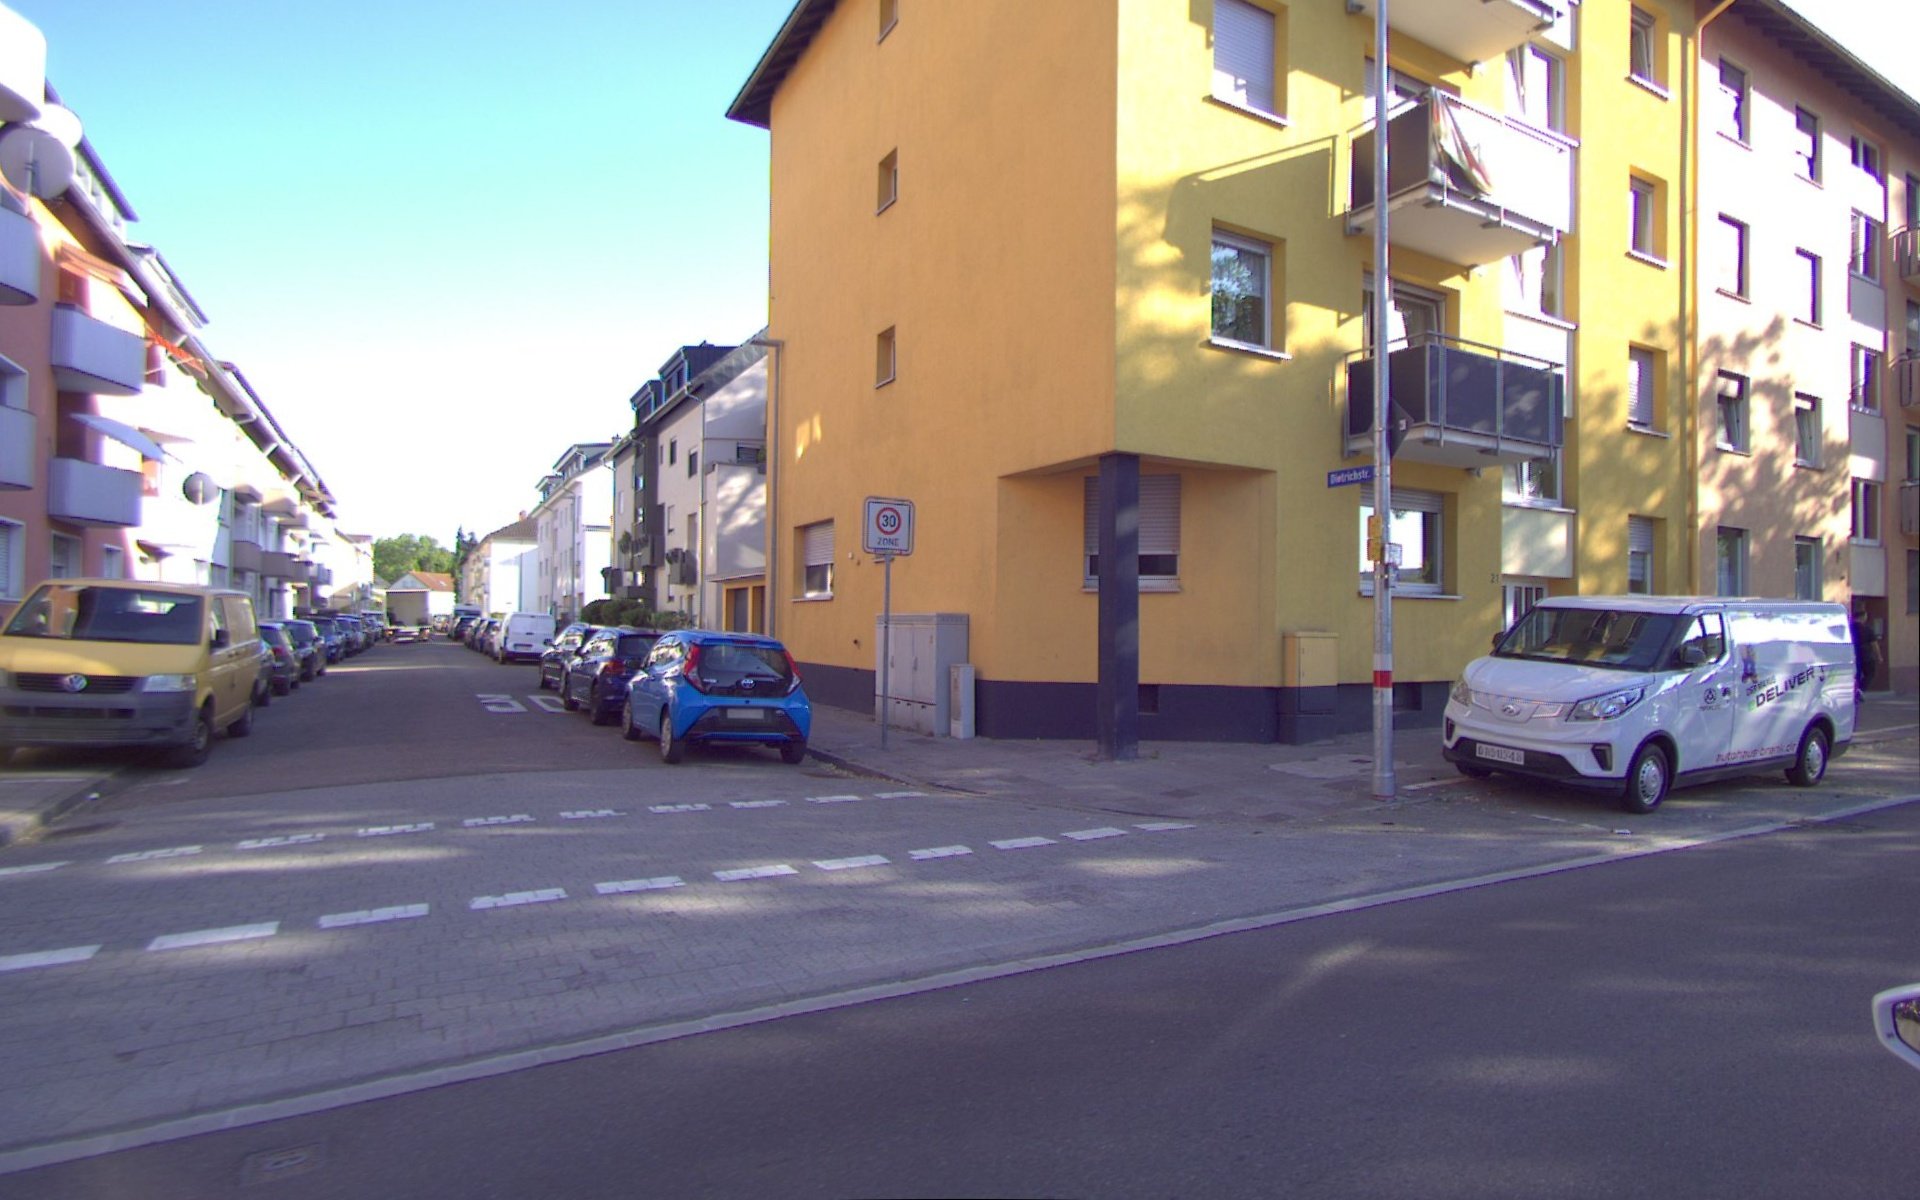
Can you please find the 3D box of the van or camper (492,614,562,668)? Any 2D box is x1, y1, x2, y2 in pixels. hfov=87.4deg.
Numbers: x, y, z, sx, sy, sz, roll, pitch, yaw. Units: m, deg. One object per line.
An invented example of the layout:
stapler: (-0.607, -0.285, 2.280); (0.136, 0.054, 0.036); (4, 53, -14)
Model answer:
van or camper: (-15.388, 1.418, 35.549); (1.848, 1.794, 4.259); (1, -1, -29)

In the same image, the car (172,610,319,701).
car: (-14.932, 1.109, 21.245); (1.895, 1.720, 4.278); (1, -2, -27)

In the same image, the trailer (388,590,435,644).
trailer: (-32.254, 0.977, 59.053); (2.213, 2.932, 5.098); (3, 0, -29)

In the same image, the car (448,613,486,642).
car: (-33.050, 1.797, 67.306); (1.977, 1.804, 3.967); (3, -2, -30)

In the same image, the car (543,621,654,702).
car: (-7.967, 1.277, 21.934); (1.727, 1.587, 3.974); (1, -2, -28)

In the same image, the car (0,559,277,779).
car: (-9.481, 0.708, 11.712); (1.895, 2.040, 4.729); (1, -2, -27)

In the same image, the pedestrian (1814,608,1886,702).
pedestrian: (17.784, 1.077, 20.075); (0.922, 1.793, 0.762); (1, 1, -30)

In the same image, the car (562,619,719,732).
car: (-5.286, 1.124, 16.287); (1.727, 1.587, 3.974); (1, -2, -28)

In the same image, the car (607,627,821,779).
car: (-3.229, 1.150, 12.648); (1.727, 1.587, 3.768); (1, -2, -28)

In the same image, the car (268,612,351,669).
car: (-22.040, 1.357, 34.180); (1.895, 1.791, 4.278); (1, -2, -27)

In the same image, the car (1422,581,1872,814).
car: (7.192, 0.852, 10.347); (5.145, 1.932, 1.726); (1, 0, -29)

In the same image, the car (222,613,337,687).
car: (-17.324, 1.236, 25.785); (1.895, 1.720, 4.278); (1, -2, -27)

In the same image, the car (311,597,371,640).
car: (-27.409, 0.851, 44.596); (1.895, 1.791, 4.278); (1, -2, -27)

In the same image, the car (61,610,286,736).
car: (-11.924, 1.028, 15.574); (1.895, 1.647, 4.433); (1, -2, -27)

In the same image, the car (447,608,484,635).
car: (-35.924, 1.546, 72.944); (1.978, 1.876, 4.659); (3, -2, -31)

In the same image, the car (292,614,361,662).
car: (-24.878, 1.482, 39.584); (1.895, 1.791, 4.278); (1, -2, -27)

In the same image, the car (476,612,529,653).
car: (-20.724, 1.461, 45.427); (1.896, 1.791, 4.277); (1, -2, -28)

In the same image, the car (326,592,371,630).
car: (-35.623, 0.647, 58.632); (1.976, 2.040, 3.970); (3, -2, -29)
